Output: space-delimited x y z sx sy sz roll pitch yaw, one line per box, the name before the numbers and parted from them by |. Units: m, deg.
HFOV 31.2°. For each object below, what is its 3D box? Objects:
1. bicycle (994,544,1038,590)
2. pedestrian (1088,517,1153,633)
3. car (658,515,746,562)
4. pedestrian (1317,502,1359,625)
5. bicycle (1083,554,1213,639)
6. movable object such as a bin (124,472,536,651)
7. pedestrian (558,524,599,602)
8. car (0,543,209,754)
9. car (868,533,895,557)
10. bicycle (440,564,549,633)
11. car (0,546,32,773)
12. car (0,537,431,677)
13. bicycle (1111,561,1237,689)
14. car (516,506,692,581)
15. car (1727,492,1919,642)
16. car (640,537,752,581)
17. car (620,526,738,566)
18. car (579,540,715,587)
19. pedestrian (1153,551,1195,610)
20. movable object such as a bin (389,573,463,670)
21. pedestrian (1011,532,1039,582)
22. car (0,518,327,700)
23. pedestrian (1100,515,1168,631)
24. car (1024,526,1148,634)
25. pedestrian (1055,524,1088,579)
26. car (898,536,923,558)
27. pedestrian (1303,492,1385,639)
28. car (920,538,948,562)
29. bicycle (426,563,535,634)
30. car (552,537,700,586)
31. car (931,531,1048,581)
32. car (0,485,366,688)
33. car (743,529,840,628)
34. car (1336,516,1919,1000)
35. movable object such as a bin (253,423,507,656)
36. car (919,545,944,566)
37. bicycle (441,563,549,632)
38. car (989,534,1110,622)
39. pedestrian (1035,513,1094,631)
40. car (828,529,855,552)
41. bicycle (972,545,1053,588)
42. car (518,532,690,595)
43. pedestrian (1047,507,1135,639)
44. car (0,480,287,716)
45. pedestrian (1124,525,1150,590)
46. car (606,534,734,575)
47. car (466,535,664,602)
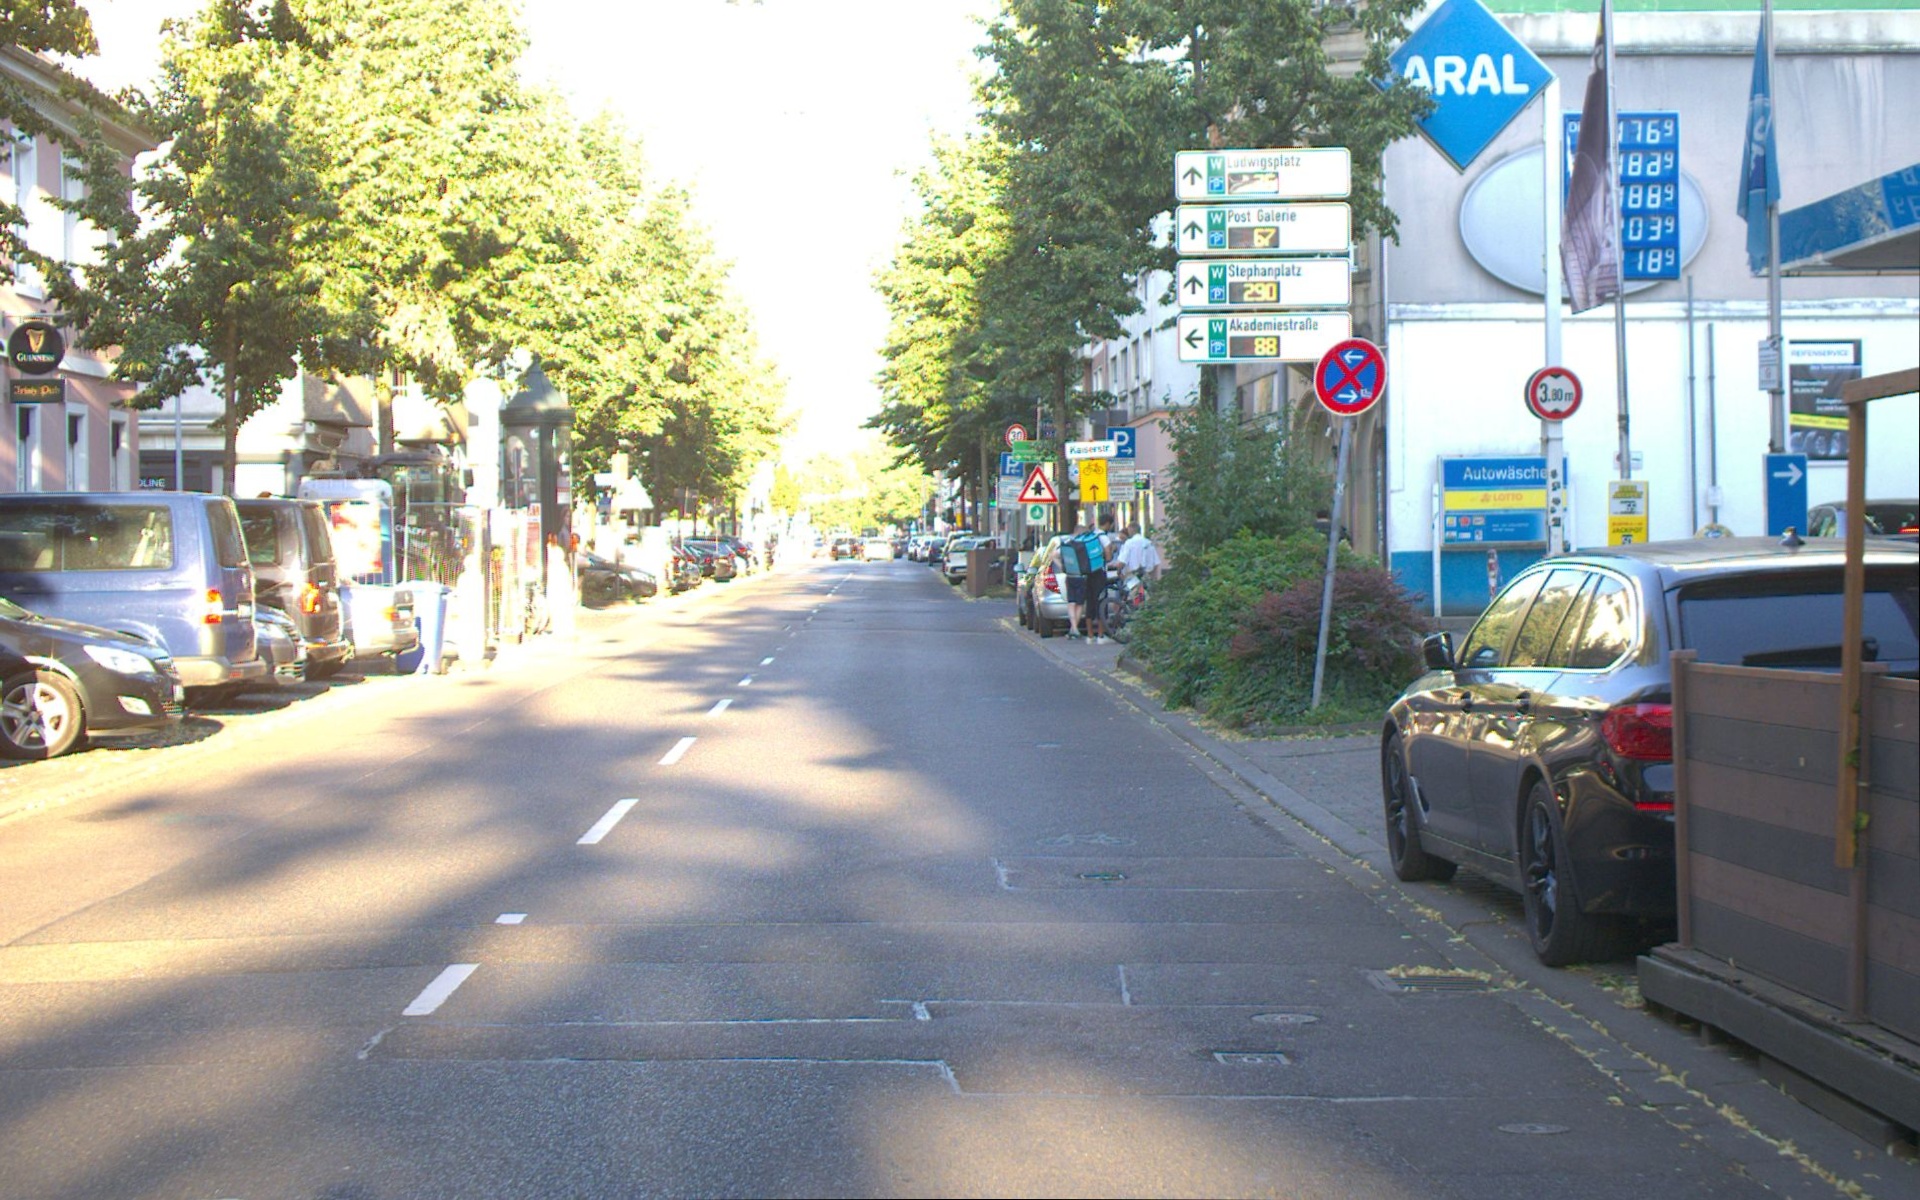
bicycle | 1.434 -0.851 87.942 0.598 1.174 1.844 0 1 18
pedestrian | 2.423 -0.379 51.943 0.677 1.700 0.825 -3 1 -16
car | -13.350 -3.177 178.156 4.442 2.426 1.919 0 1 0
pedestrian | 5.800 -0.560 52.758 0.460 1.869 0.501 -1 1 -16
bicycle | 2.682 -0.057 48.806 0.866 1.095 1.923 -1 2 38
movable object such as a bin | -9.218 -0.594 50.752 2.312 2.486 5.741 1 1 42
pedestrian | -8.310 -0.814 74.954 0.710 1.680 0.833 0 1 8
car | -7.889 0.328 25.564 4.325 1.496 1.842 1 1 -6
car | -5.177 -3.626 226.966 1.752 1.535 3.304 -1 1 0
bicycle | -7.681 -0.021 56.690 1.683 1.075 0.444 2 0 7
car | -8.297 0.386 22.490 3.923 1.496 1.905 0 1 1
car | -8.327 0.054 38.139 4.594 1.465 1.892 0 1 2
bicycle | 2.088 0.231 33.323 0.483 1.139 1.678 -2 1 29
car | -9.551 -1.519 92.508 4.571 1.955 1.991 0 1 -1
car | 9.418 -0.337 35.545 1.734 1.426 4.909 -1 0 -1
car | -10.774 -1.690 140.748 4.442 1.753 1.919 0 1 0
car | -10.954 -2.111 134.239 4.442 1.518 1.919 0 1 0
car | -10.597 -1.248 116.670 4.442 1.562 1.919 0 1 0
pedestrian | 4.241 -0.377 68.236 0.681 1.137 1.361 -2 -1 -1
movable object such as a bin | -6.237 0.244 40.194 0.690 1.101 0.883 -1 1 1
pedestrian | 1.782 -1.182 94.185 0.726 1.373 0.781 0 1 -1
car | -8.194 0.052 32.372 4.129 1.631 1.860 1 1 0
pedestrian | 2.598 -0.400 51.336 0.667 1.694 0.651 -2 1 45
car | 1.972 -0.352 54.735 1.687 1.569 4.013 -3 1 -1
pedestrian | 3.884 -1.696 120.170 0.916 1.919 1.018 1 1 -11
car | -3.501 -3.713 242.907 1.752 1.535 3.304 -1 1 0
pedestrian | 4.997 -0.453 44.805 0.822 1.847 1.097 -3 1 -3
car | -1.452 -2.775 190.773 1.513 1.271 3.304 0 1 0
bicycle | -7.826 -0.023 56.096 1.682 1.075 0.444 2 0 -2
car | -10.388 -1.199 107.154 4.442 1.453 1.859 0 1 0
car | 0.980 -1.426 111.037 1.674 1.583 3.814 1 1 42
car | -8.417 -0.158 34.902 4.483 1.969 1.966 1 1 -3
car | -3.309 -0.455 67.953 1.708 1.817 4.013 -3 1 -1
car | 2.806 0.453 13.456 1.828 1.483 4.850 -2 1 -3
movable object such as a bin | -7.723 -0.818 46.363 2.624 2.959 5.304 0 1 -1
car | -1.733 -2.686 208.840 1.513 1.259 3.304 0 1 0
bicycle | -7.751 -0.039 57.287 1.683 1.075 0.444 2 0 7
car | 1.503 -0.417 59.380 1.785 1.371 4.524 -3 1 -1
pedestrian | 1.569 -0.418 51.743 0.677 1.748 0.825 -1 1 -11
car | -8.311 -4.191 241.942 1.752 1.535 3.304 -1 1 0
bicycle | 1.320 -0.845 86.479 1.957 1.070 0.704 1 1 31
car | -9.838 -1.021 95.288 4.571 1.692 2.060 0 1 0
pedestrian | 1.862 -0.387 48.813 1.013 1.819 0.780 -3 1 -11
car | -8.255 -0.041 29.702 4.483 1.969 2.068 0 1 0
pedestrian | 4.403 -1.070 85.679 0.567 1.578 0.663 -2 2 -1
car | -10.376 -1.637 123.376 4.442 1.444 1.919 0 1 0
car | -9.395 -0.754 82.006 4.546 1.536 1.811 0 1 -2
